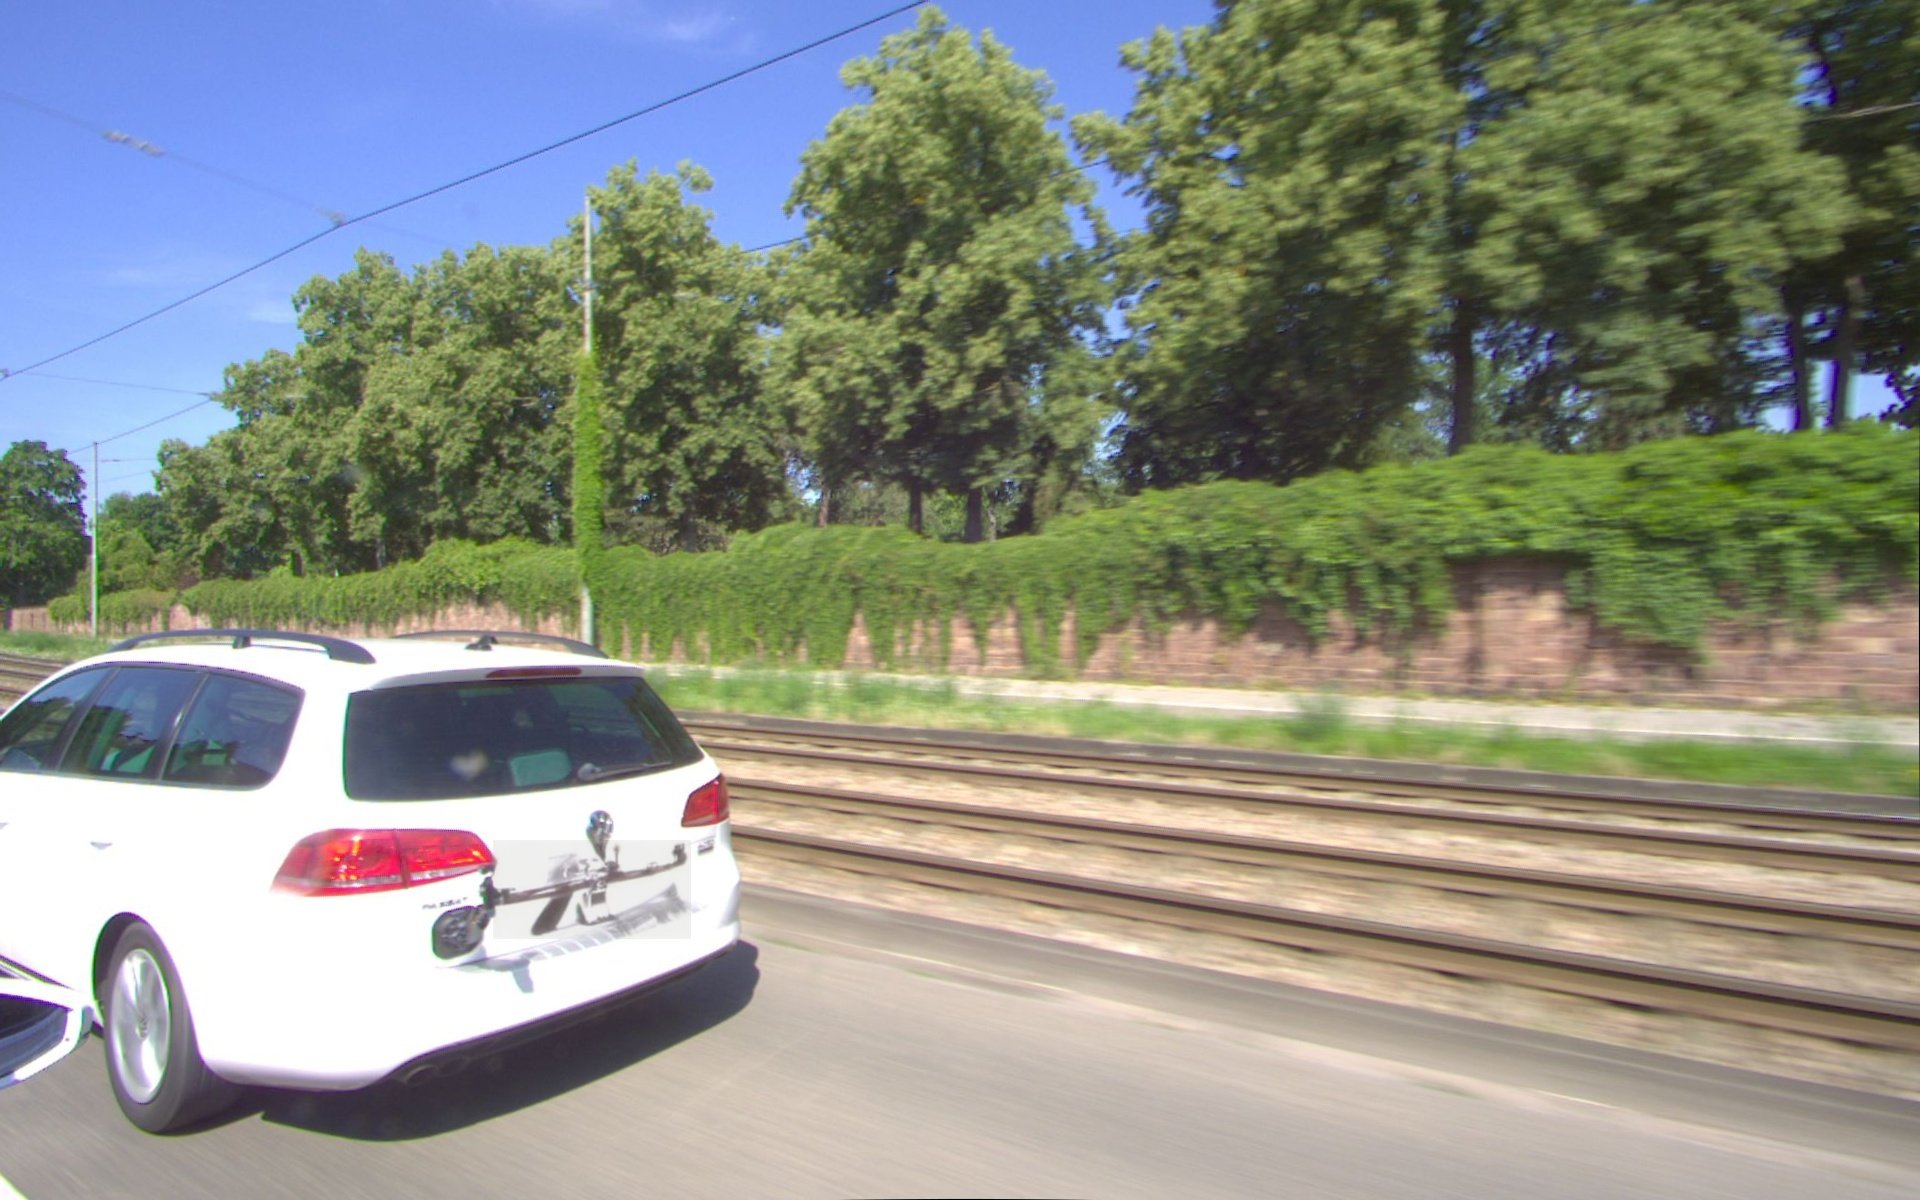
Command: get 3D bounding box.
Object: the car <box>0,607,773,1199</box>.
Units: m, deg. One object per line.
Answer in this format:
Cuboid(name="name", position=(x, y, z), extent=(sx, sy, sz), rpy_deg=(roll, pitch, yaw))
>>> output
Cuboid(name="car", position=(-3.028, 0.776, 4.325), extent=(4.394, 1.470, 1.688), rpy_deg=(0, -1, 32))
